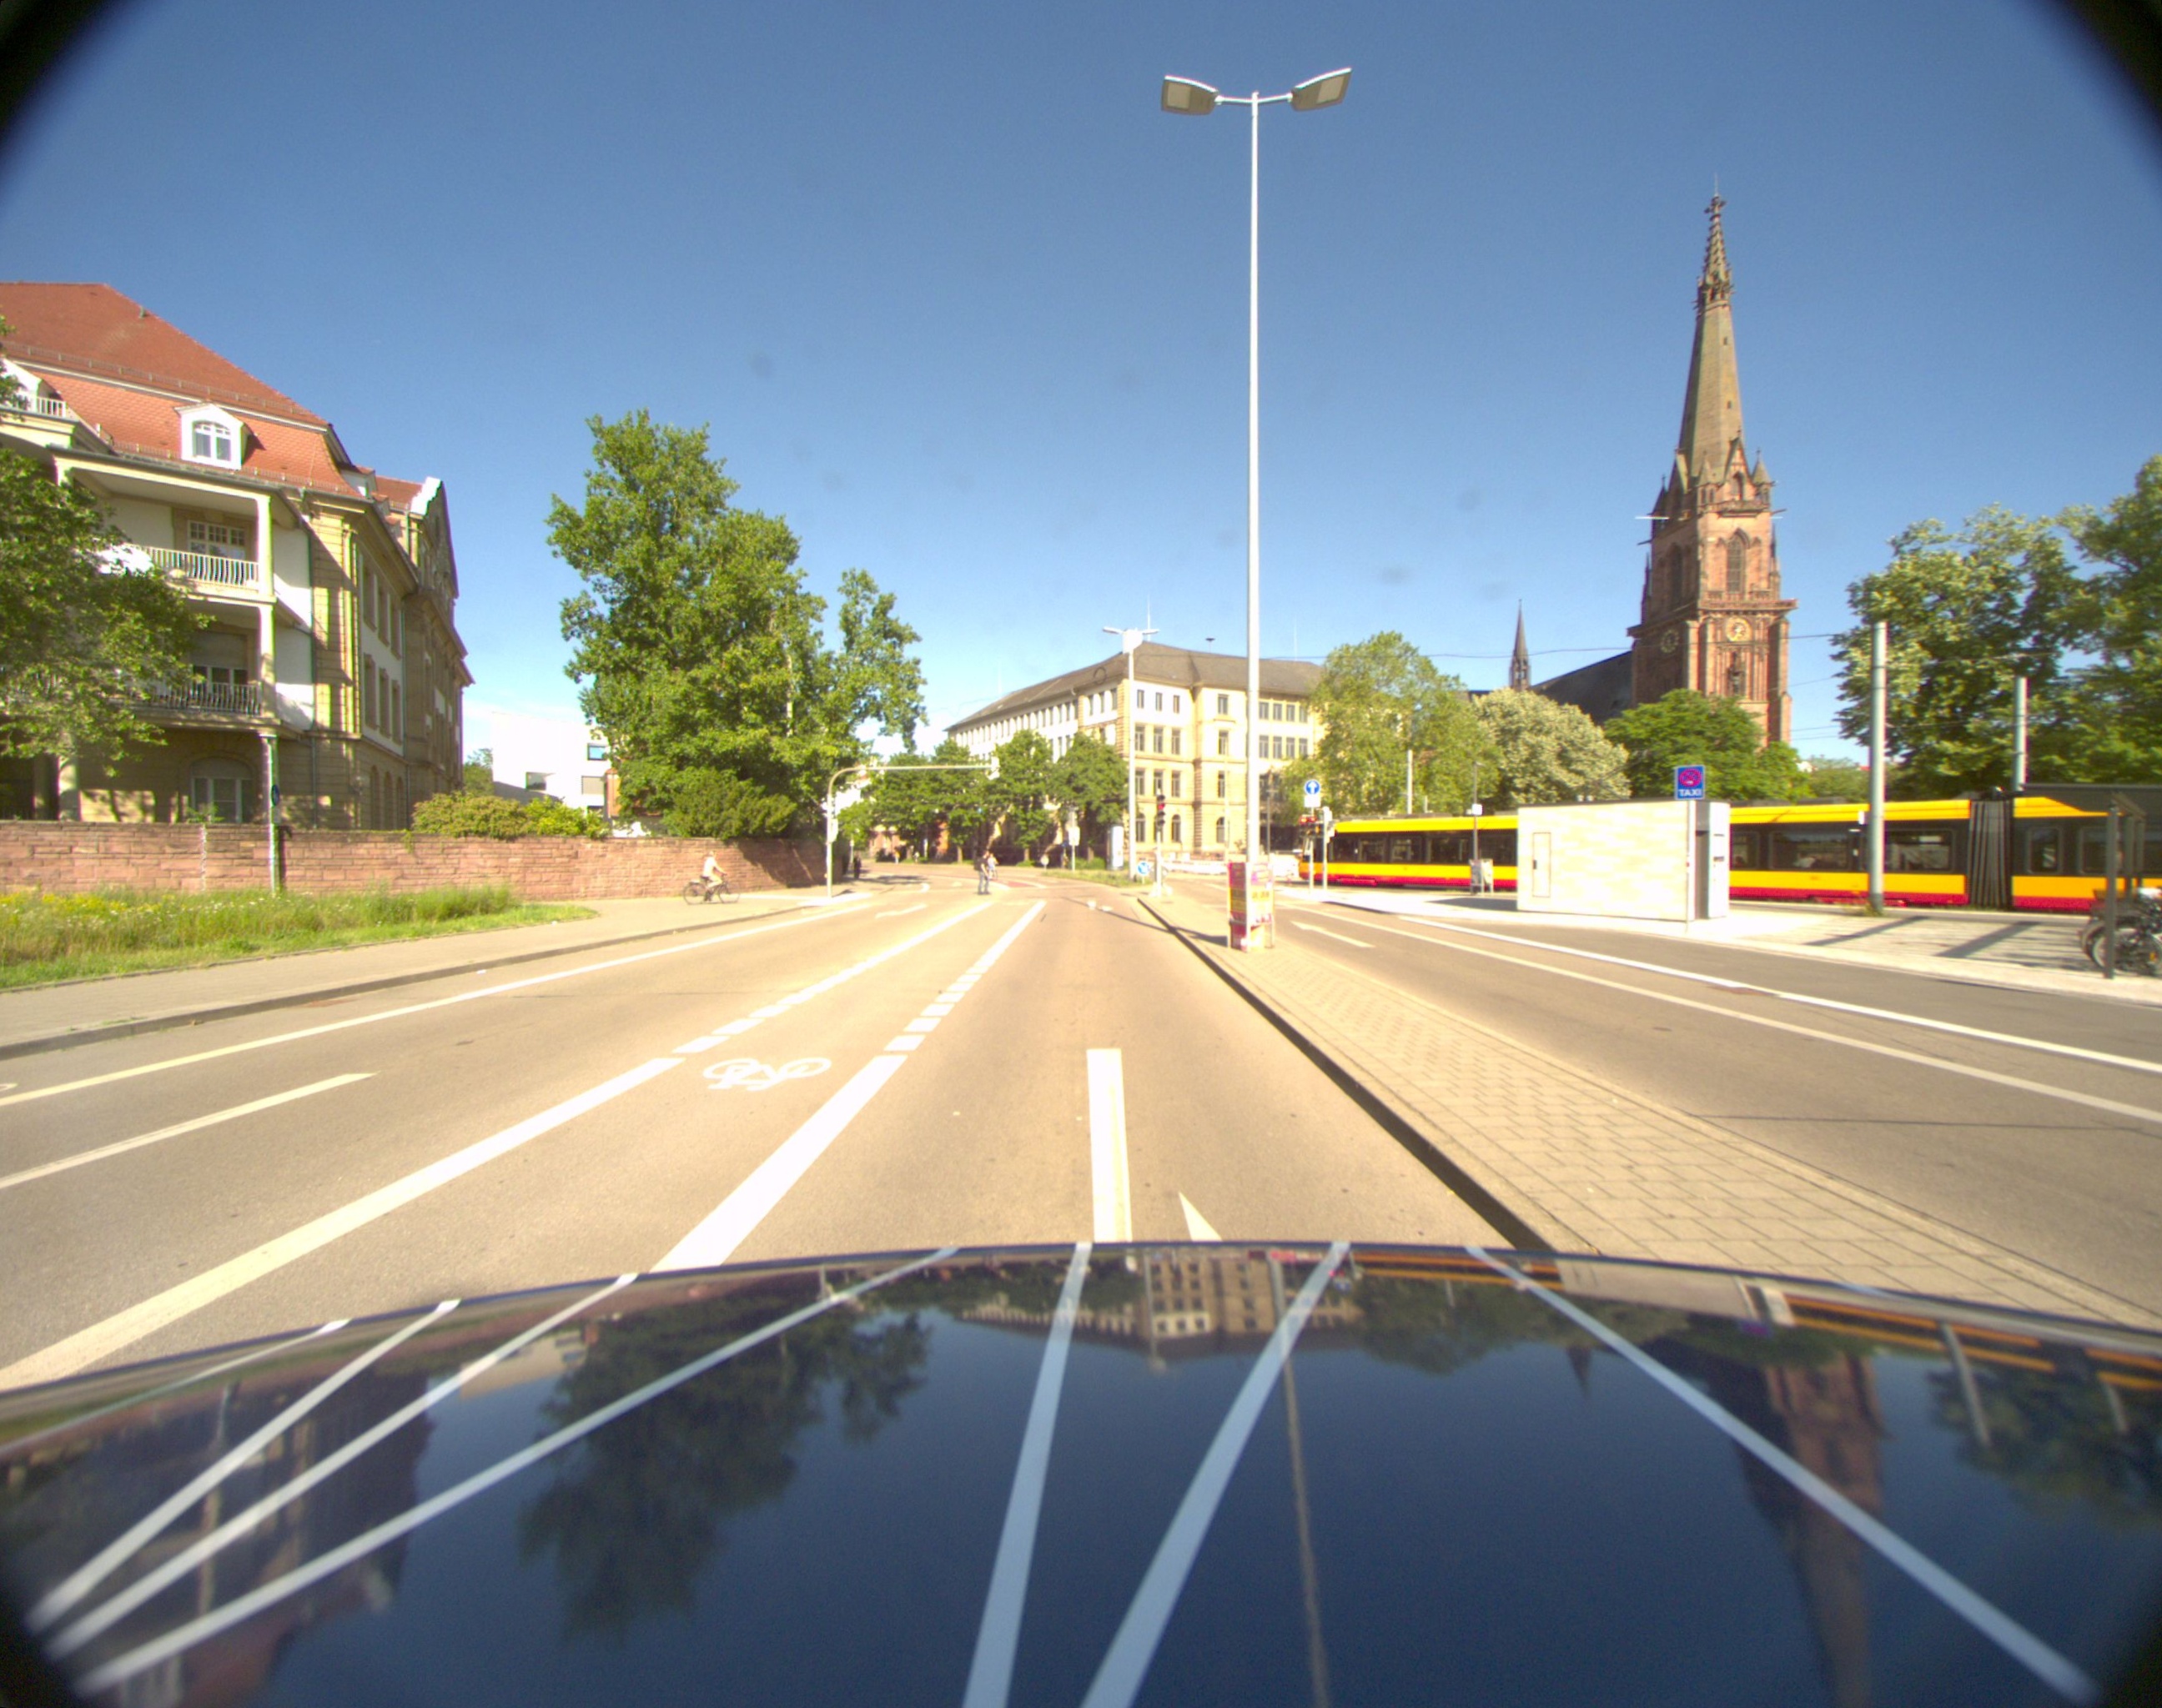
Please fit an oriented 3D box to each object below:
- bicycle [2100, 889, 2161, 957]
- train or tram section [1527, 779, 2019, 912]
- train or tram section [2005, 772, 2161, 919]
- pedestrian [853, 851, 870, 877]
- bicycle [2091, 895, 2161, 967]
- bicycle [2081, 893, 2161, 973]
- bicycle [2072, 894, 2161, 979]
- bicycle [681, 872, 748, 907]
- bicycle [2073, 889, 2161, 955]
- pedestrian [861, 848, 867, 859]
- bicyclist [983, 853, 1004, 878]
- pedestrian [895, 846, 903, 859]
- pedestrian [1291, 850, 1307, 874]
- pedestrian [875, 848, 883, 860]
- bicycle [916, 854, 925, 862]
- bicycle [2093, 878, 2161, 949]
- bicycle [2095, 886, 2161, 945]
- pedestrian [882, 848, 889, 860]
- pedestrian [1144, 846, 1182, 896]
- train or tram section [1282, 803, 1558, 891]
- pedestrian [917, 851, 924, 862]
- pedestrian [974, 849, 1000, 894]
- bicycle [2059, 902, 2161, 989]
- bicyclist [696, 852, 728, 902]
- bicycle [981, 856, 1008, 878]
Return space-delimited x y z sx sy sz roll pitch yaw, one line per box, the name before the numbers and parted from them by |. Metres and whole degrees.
bicycle | 17.166 1.091 11.619 0.630 1.002 1.826 -1 1 -32
train or tram section | 22.639 -0.269 26.397 2.806 3.580 12.294 -1 1 -35
train or tram section | 29.684 -0.192 16.295 2.838 3.580 12.294 -1 1 -35
pedestrian | -14.229 0.634 49.314 0.940 1.711 0.994 0 1 -12
bicycle | 16.179 1.153 10.994 0.630 1.002 1.826 -1 1 -32
bicycle | 15.142 1.108 10.322 0.574 1.045 1.826 -1 1 -32
bicycle | 14.672 1.122 10.056 0.630 1.059 1.826 -1 1 -32
bicycle | -11.999 1.147 24.909 1.888 1.064 0.723 0 0 -35
bicycle | 17.813 1.129 12.455 0.630 1.002 1.826 -1 1 -32
pedestrian | -35.544 -0.068 124.465 0.759 1.802 0.978 -1 1 -38
bicyclist | -5.585 0.717 48.446 0.871 1.551 1.277 -1 1 -29
pedestrian | -25.799 -0.182 107.860 0.759 1.802 0.977 -1 1 -40
pedestrian | 16.004 0.601 55.772 0.932 1.731 0.808 1 1 42
pedestrian | -30.714 0.013 115.505 0.759 1.801 0.978 -1 -3 -34
bicycle | -20.587 0.557 97.484 0.602 1.000 1.983 -3 1 -28
bicycle | 18.947 1.039 13.043 0.630 1.173 1.826 -1 1 -32
bicycle | 19.526 1.115 13.451 0.630 1.002 1.826 -1 1 -32
pedestrian | -29.910 -0.025 116.146 0.759 1.801 0.978 -1 -3 -34
pedestrian | 3.089 0.618 28.671 1.230 1.845 0.826 0 1 -18
train or tram section | 15.562 -0.324 36.623 2.806 3.580 12.504 -1 1 -35
pedestrian | -20.568 0.285 97.403 0.597 1.394 0.644 -3 2 -28
pedestrian | -3.918 0.729 31.740 0.961 1.839 0.731 1 1 -1
bicycle | 13.937 1.199 9.588 0.702 1.002 1.863 -1 2 -32
bicyclist | -12.072 0.745 24.860 0.779 1.596 0.721 -2 1 -35
bicycle | -5.516 0.801 48.333 0.763 1.360 2.731 -1 1 -28
